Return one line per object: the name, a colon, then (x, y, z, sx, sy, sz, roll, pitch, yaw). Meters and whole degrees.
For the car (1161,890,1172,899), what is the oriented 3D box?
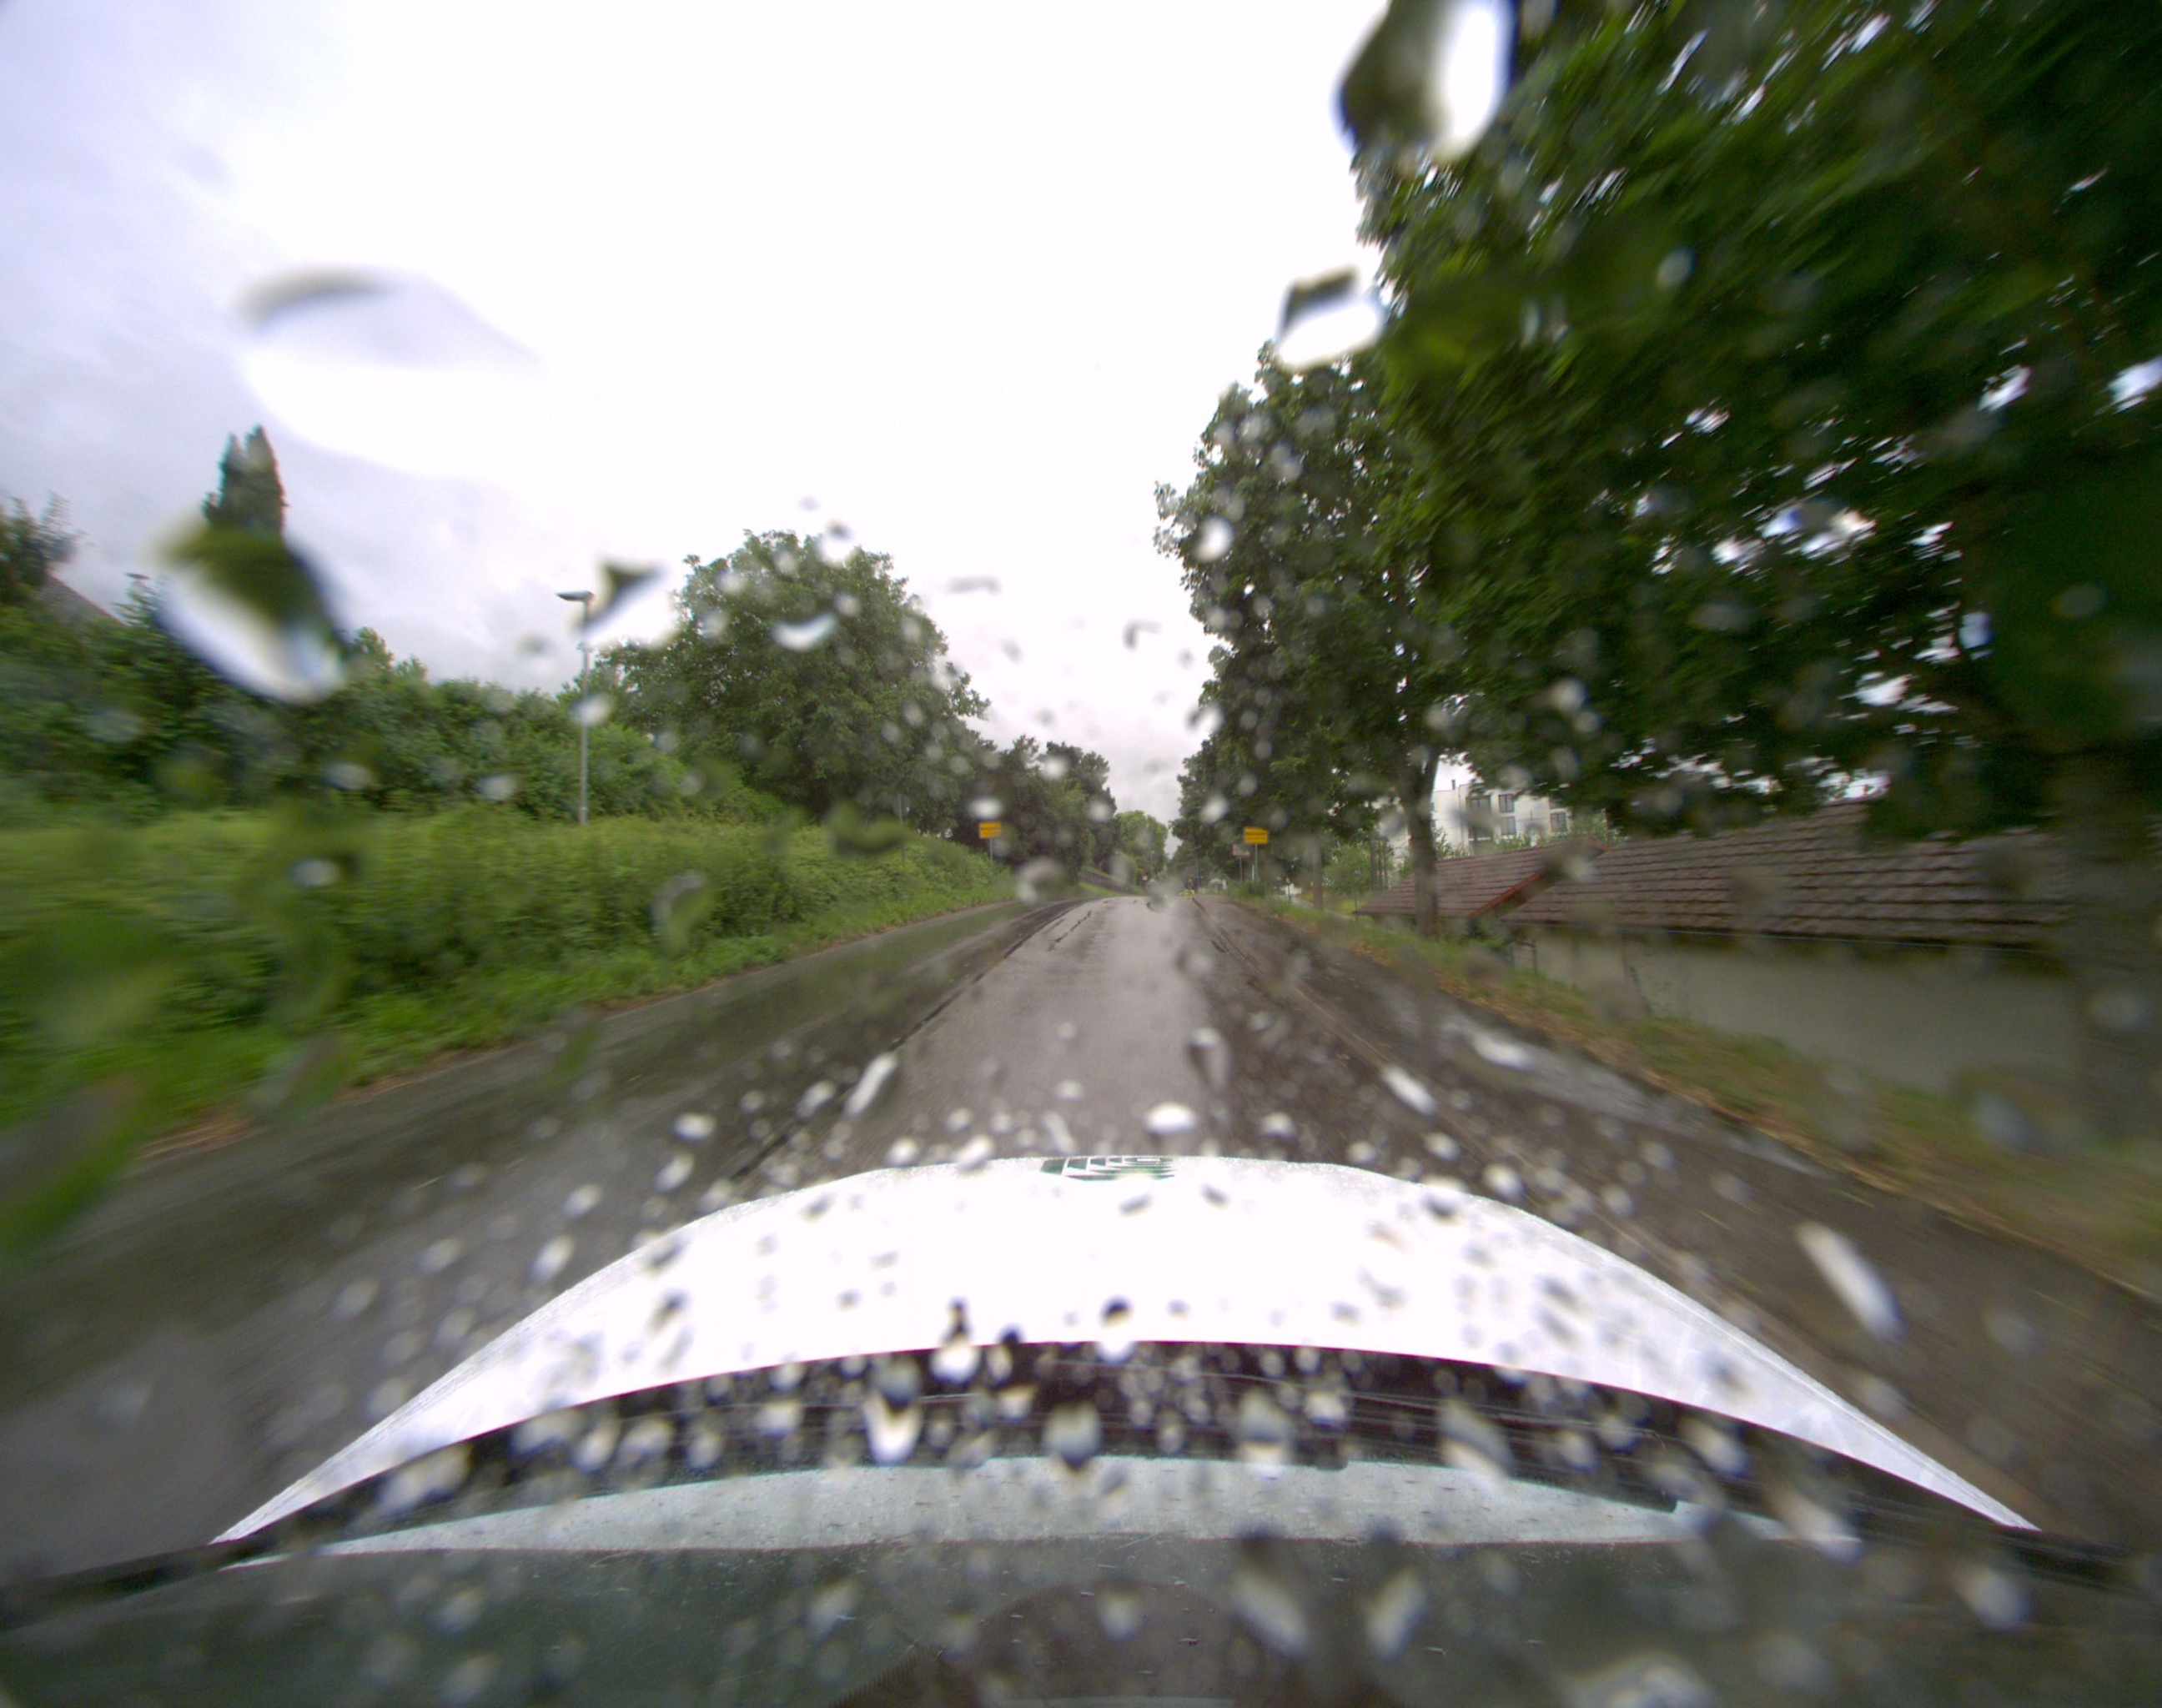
car: (16.263, 7.715, 154.952, 1.753, 1.503, 4.143, -3, -4, 3)
